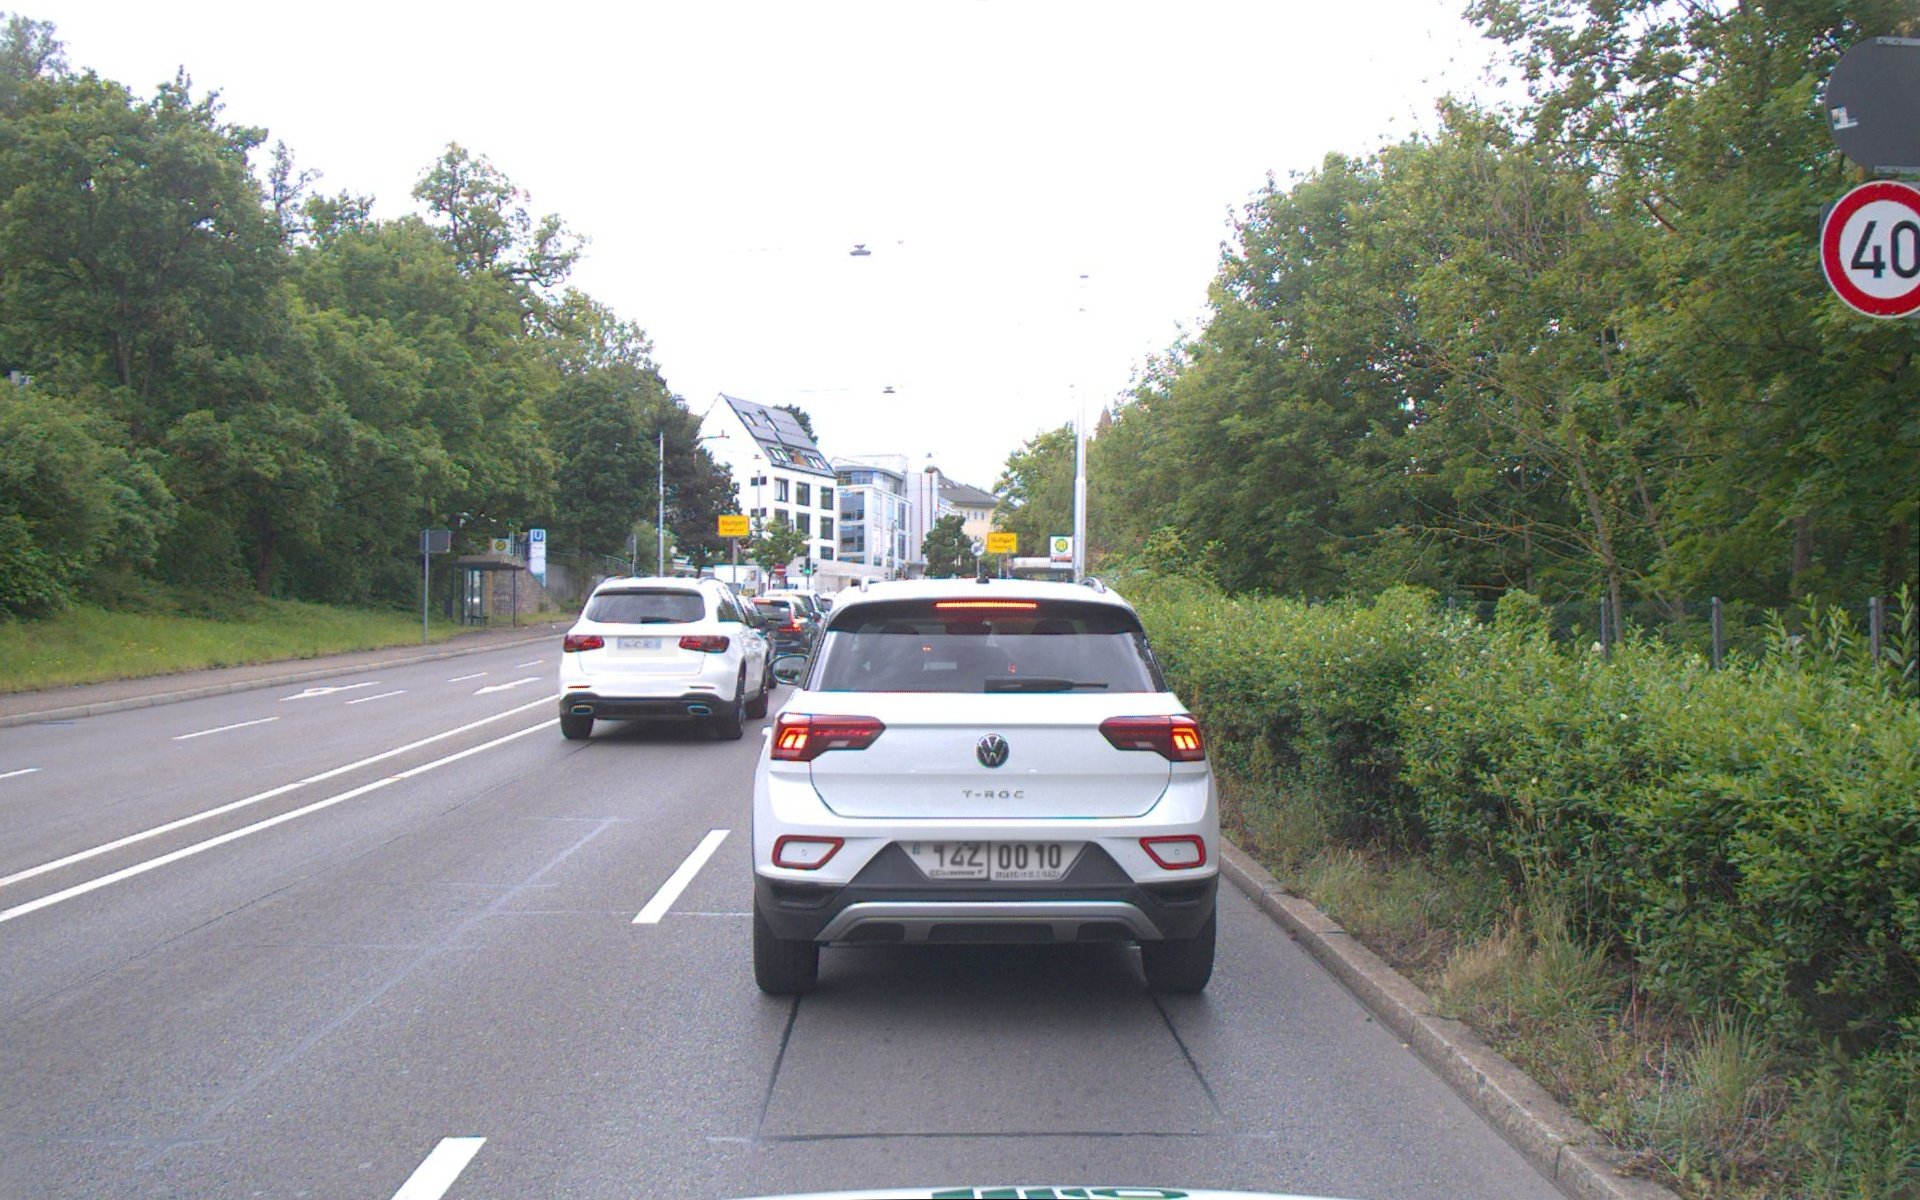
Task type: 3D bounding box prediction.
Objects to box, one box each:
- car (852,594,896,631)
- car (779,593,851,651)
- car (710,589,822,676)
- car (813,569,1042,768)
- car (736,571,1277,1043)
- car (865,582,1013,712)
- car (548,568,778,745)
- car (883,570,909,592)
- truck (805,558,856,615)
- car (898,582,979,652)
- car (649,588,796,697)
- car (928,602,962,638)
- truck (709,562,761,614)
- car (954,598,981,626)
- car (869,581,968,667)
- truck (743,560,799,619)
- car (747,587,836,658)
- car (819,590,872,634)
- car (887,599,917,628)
[{"bbox_3d":[-3.760,0.519,72.792,1.792,1.552,3.999,-1,0,-2],"label":"car"},{"bbox_3d":[-4.088,0.600,47.115,1.792,1.552,3.999,-1,0,-2],"label":"car"},{"bbox_3d":[-3.695,0.590,32.131,1.792,1.552,3.999,-1,0,-2],"label":"car"},{"bbox_3d":[-0.313,0.533,15.144,1.792,1.552,3.999,-1,0,-2],"label":"car"},{"bbox_3d":[0.103,0.675,7.492,1.792,1.552,3.999,0,0,-2],"label":"car"},{"bbox_3d":[-0.316,0.568,22.250,1.792,1.552,3.999,-1,0,-2],"label":"car"},{"bbox_3d":[-3.090,0.544,18.001,1.879,1.698,3.999,1,0,-2],"label":"car"},{"bbox_3d":[-4.487,-1.335,117.025,1.792,1.552,3.999,-1,0,-2],"label":"car"},{"bbox_3d":[-6.691,-0.715,85.854,2.315,2.830,4.476,-2,0,-2],"label":"truck"},{"bbox_3d":[-0.546,0.377,39.160,1.792,1.552,3.999,-1,0,-2],"label":"car"},{"bbox_3d":[-3.591,0.600,25.652,1.792,1.523,3.999,-1,0,-2],"label":"car"},{"bbox_3d":[-0.866,1.221,98.252,1.953,2.049,3.999,-1,-1,0],"label":"car"},{"bbox_3d":[-13.972,-0.702,102.946,2.246,3.104,6.979,-1,0,0],"label":"truck"},{"bbox_3d":[0.532,0.937,127.339,1.953,2.049,3.999,-1,0,-1],"label":"car"},{"bbox_3d":[-0.822,0.428,32.334,1.792,1.552,3.999,-1,0,-2],"label":"car"},{"bbox_3d":[-9.226,-0.502,81.086,2.315,2.754,4.476,-2,0,-2],"label":"truck"},{"bbox_3d":[-3.957,0.500,39.298,1.792,1.552,3.999,-1,0,-2],"label":"car"},{"bbox_3d":[-4.214,0.425,61.233,1.792,1.552,3.999,-1,0,-2],"label":"car"},{"bbox_3d":[-3.656,0.835,104.857,1.778,1.685,3.927,-2,0,-2],"label":"car"}]
